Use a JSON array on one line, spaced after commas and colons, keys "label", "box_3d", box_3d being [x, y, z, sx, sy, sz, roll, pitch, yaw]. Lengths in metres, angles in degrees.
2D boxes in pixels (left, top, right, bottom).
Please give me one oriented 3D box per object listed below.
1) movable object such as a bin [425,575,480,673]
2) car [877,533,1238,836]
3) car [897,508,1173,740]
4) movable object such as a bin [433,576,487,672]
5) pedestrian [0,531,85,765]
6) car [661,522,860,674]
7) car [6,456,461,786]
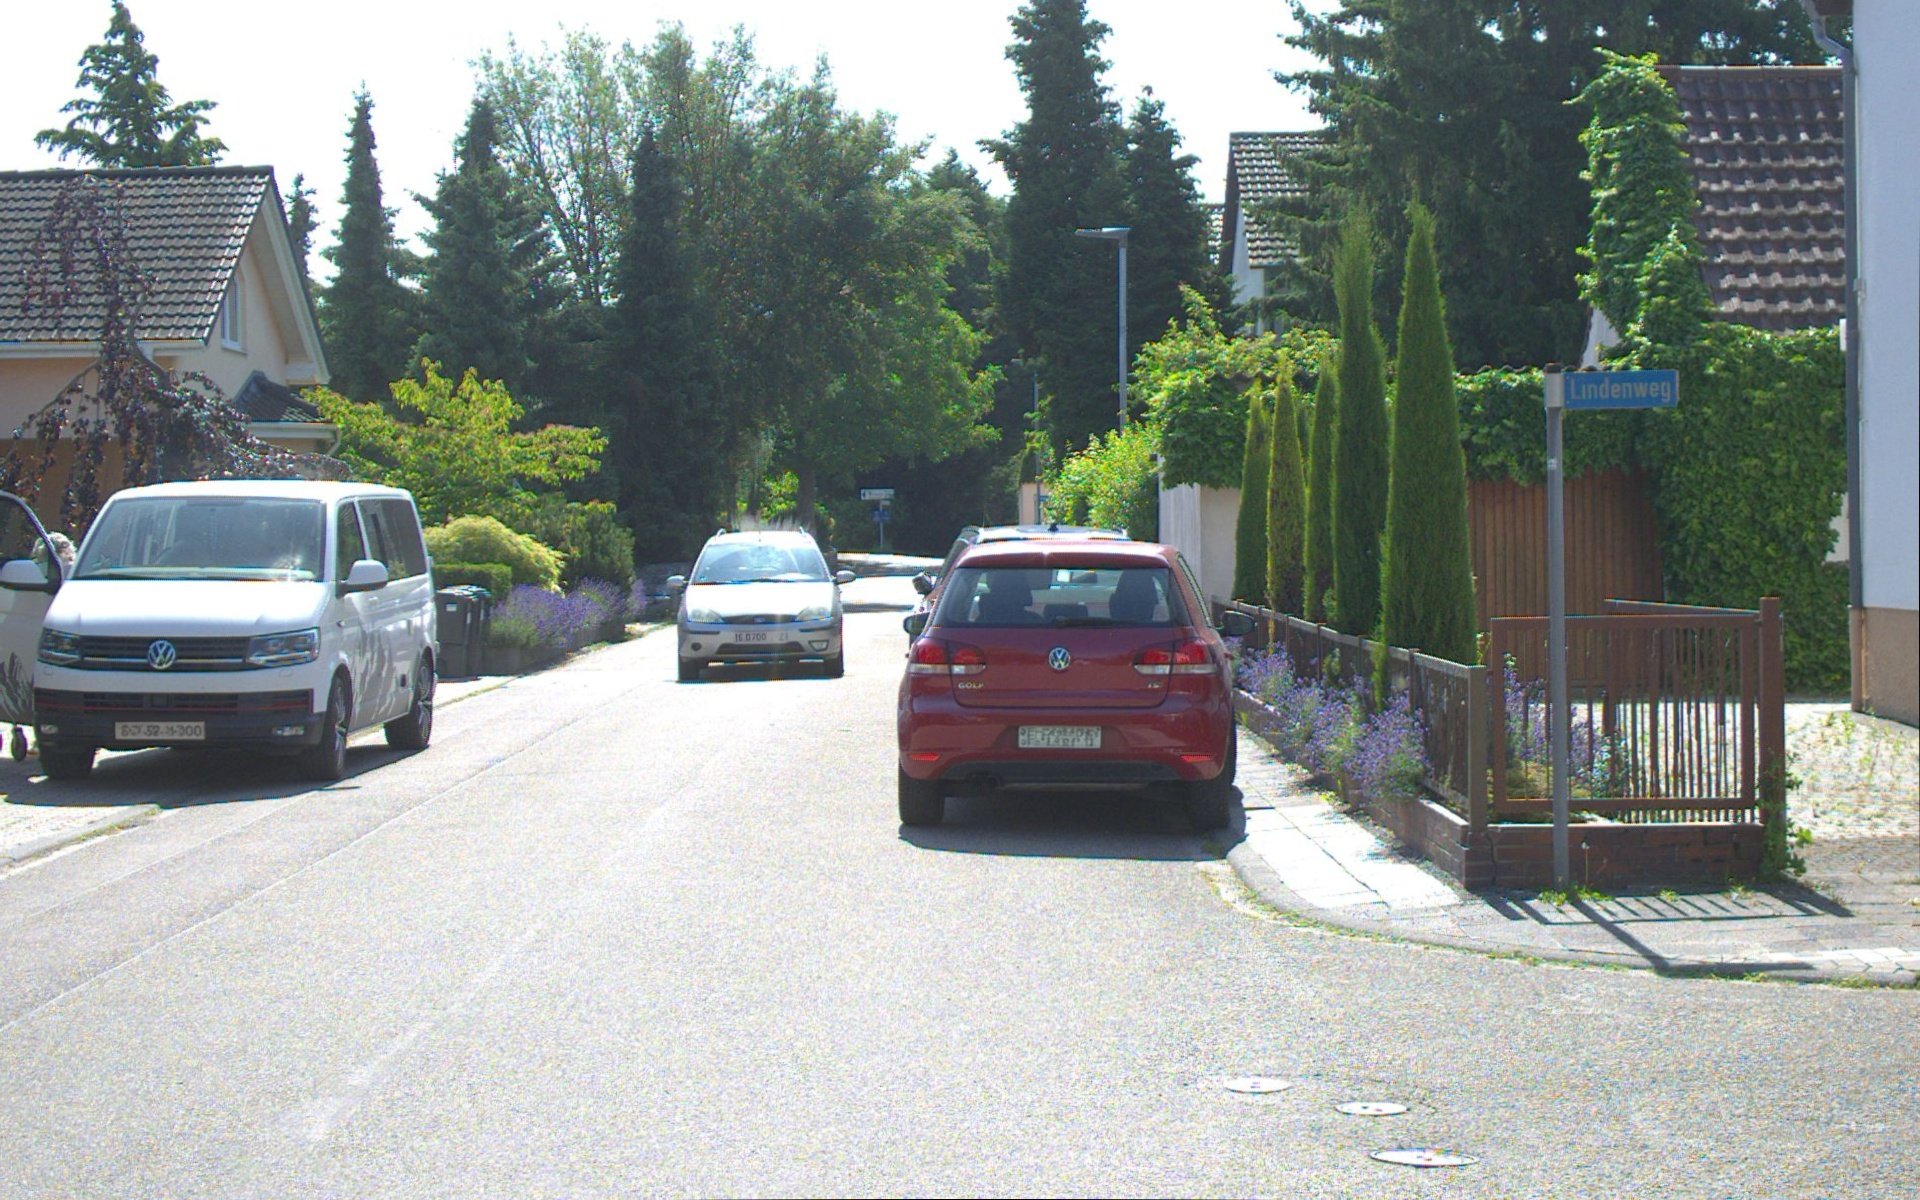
[{"label": "movable object such as a bin", "box_3d": [-5.416, 0.250, 36.686, 0.494, 1.021, 0.447, -1, 1, 0]}, {"label": "car", "box_3d": [0.605, 0.381, 19.170, 1.775, 1.474, 4.000, 1, 1, 3]}, {"label": "car", "box_3d": [0.484, 0.128, 25.952, 1.822, 1.610, 4.001, 0, 1, -2]}, {"label": "movable object such as a bin", "box_3d": [-5.406, 0.257, 37.164, 0.494, 1.021, 0.447, -1, 1, 0]}, {"label": "pedestrian", "box_3d": [-6.383, 0.305, 23.119, 0.718, 1.533, 0.641, 1, 2, 34]}, {"label": "car", "box_3d": [-2.058, -0.062, 36.536, 1.752, 1.482, 4.376, -1, 1, 1]}, {"label": "car", "box_3d": [-4.812, 0.081, 23.541, 1.929, 2.007, 4.896, 0, 1, 2]}]
